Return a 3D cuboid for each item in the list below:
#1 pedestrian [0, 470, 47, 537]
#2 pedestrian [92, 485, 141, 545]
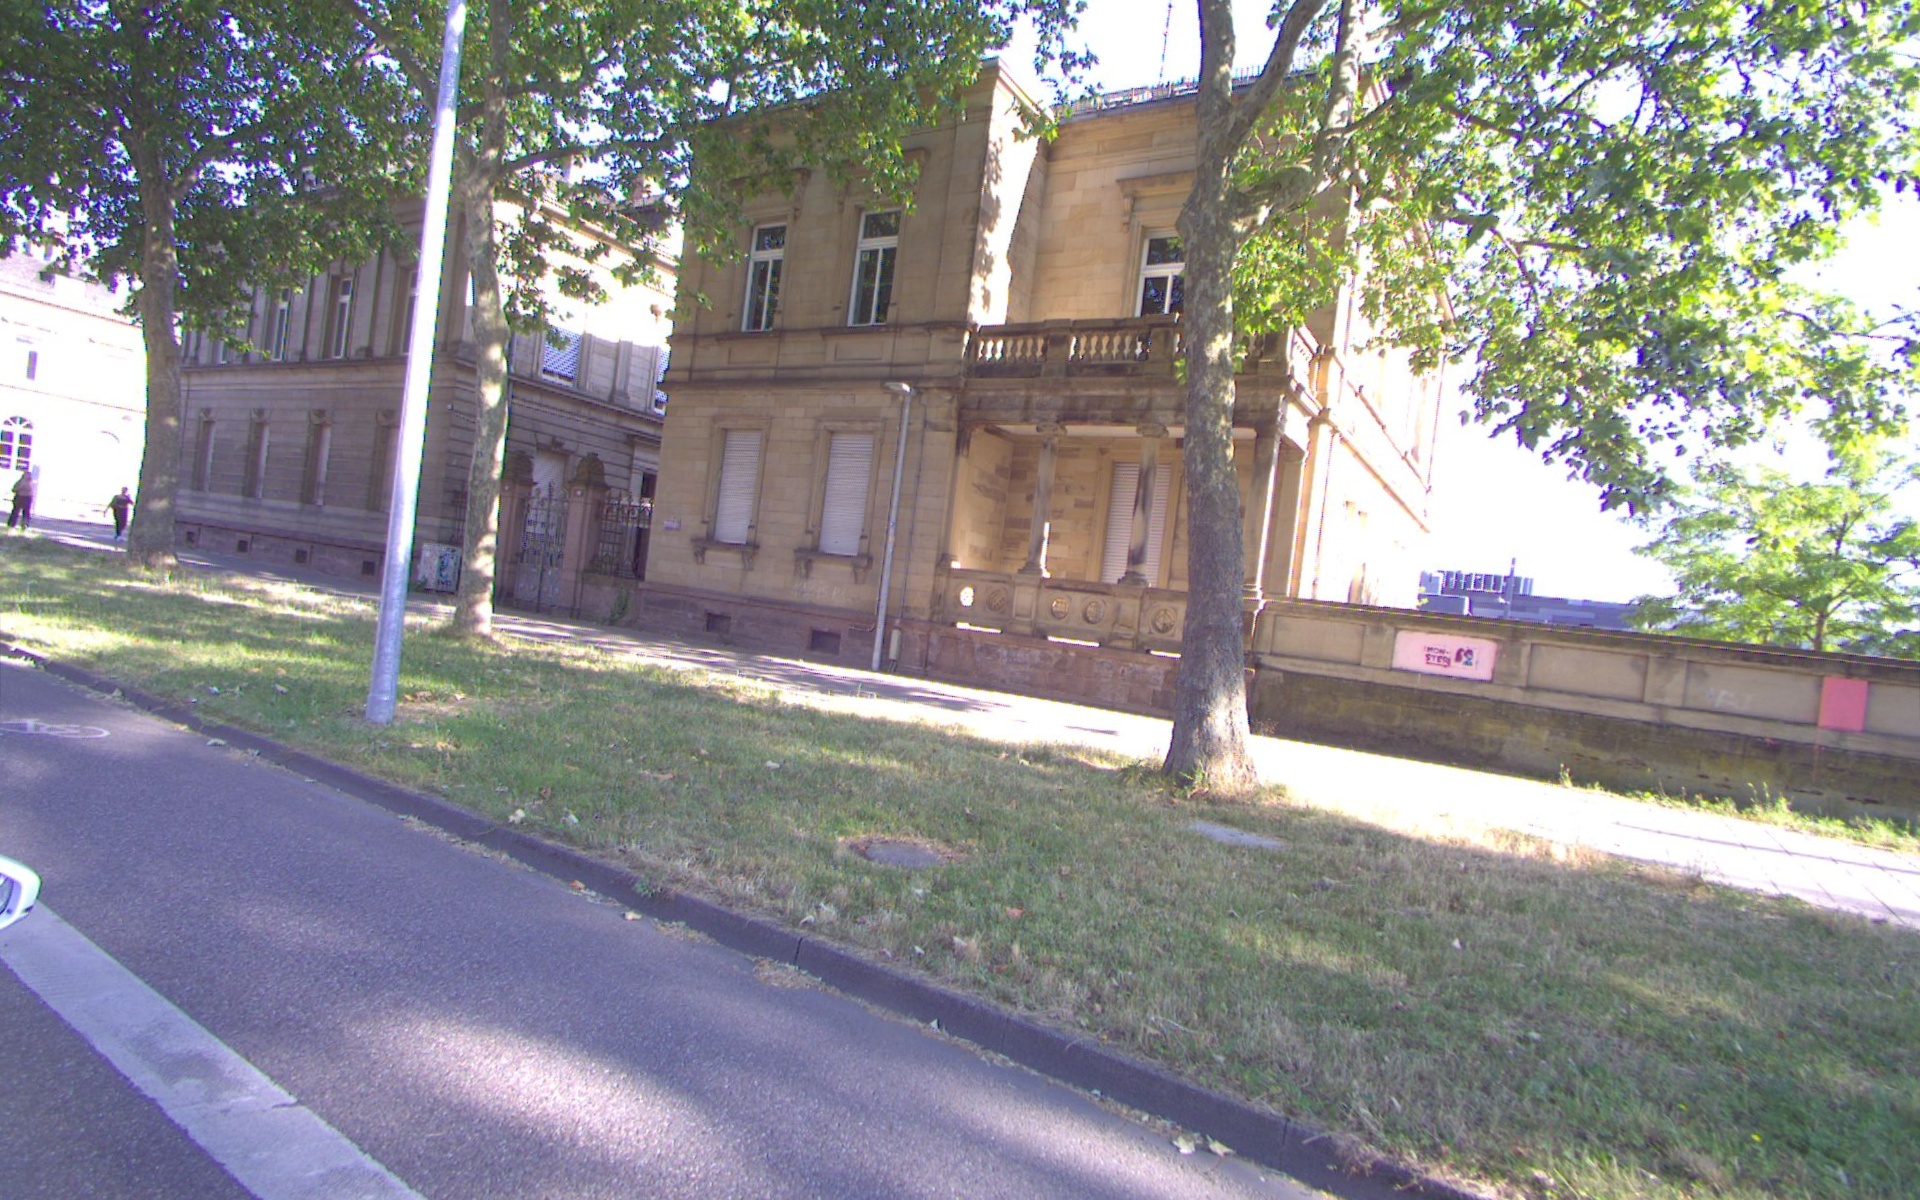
[{"bbox_3d":[-26.377,-2.717,28.235,1.025,1.731,0.770,7,1,34],"label":"pedestrian"},{"bbox_3d":[-25.084,-2.536,29.904,0.970,1.626,0.770,7,1,33],"label":"pedestrian"}]
